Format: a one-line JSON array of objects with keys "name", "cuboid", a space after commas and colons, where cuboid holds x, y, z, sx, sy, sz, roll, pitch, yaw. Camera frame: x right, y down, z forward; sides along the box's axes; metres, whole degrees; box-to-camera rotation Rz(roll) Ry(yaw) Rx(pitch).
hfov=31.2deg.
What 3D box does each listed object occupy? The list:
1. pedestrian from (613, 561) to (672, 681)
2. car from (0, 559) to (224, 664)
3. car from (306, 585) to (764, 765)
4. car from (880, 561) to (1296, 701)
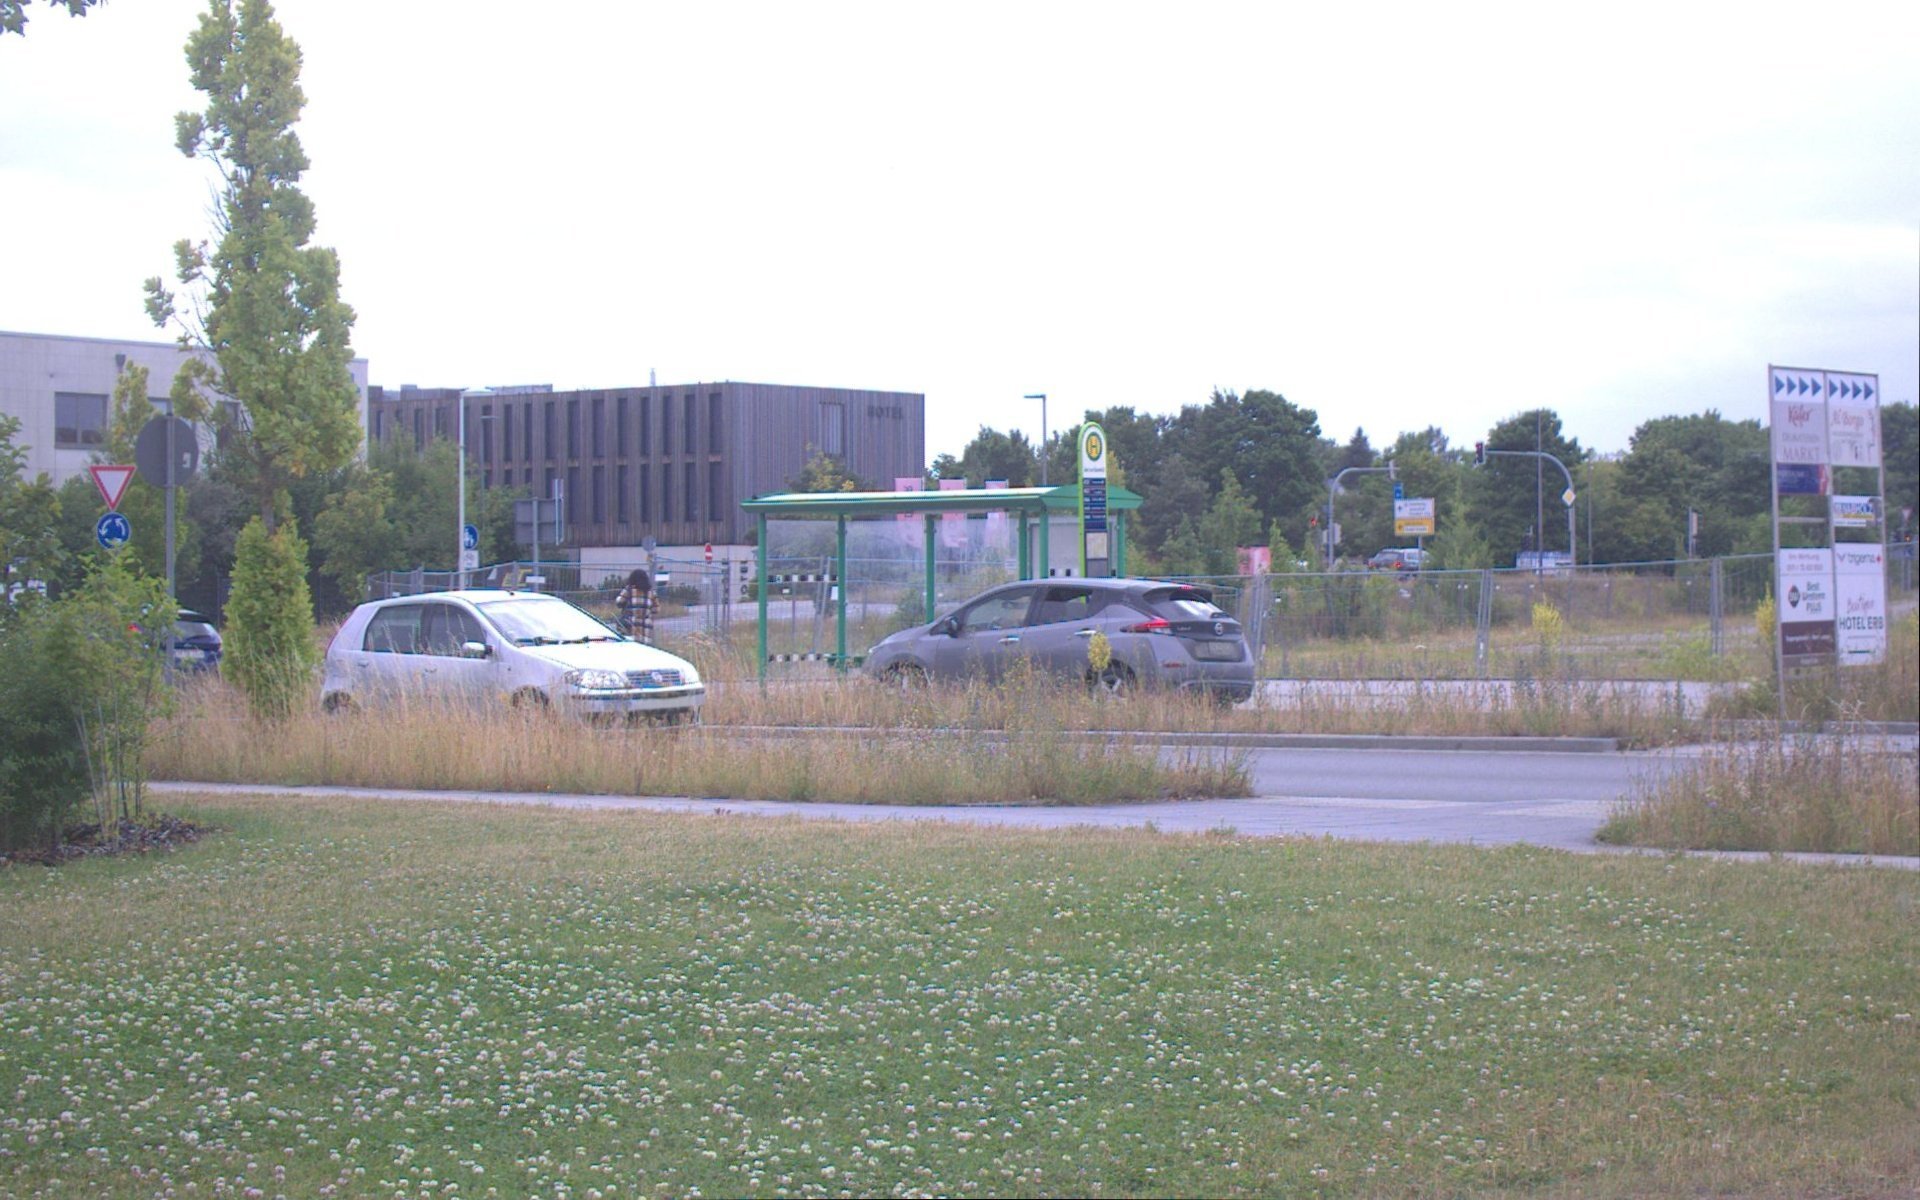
[{"name": "pedestrian", "cuboid": [-4.585, 0.296, 49.576, 0.741, 1.716, 0.651, 0, 0, -15]}, {"name": "car", "cuboid": [-11.794, 0.122, 45.958, 3.960, 1.338, 1.714, 1, 1, 39]}, {"name": "car", "cuboid": [-3.738, 0.616, 29.983, 3.812, 1.456, 1.797, 0, 0, 38]}, {"name": "car", "cuboid": [1.276, 0.282, 35.328, 4.060, 1.338, 1.714, 1, 1, 39]}]
